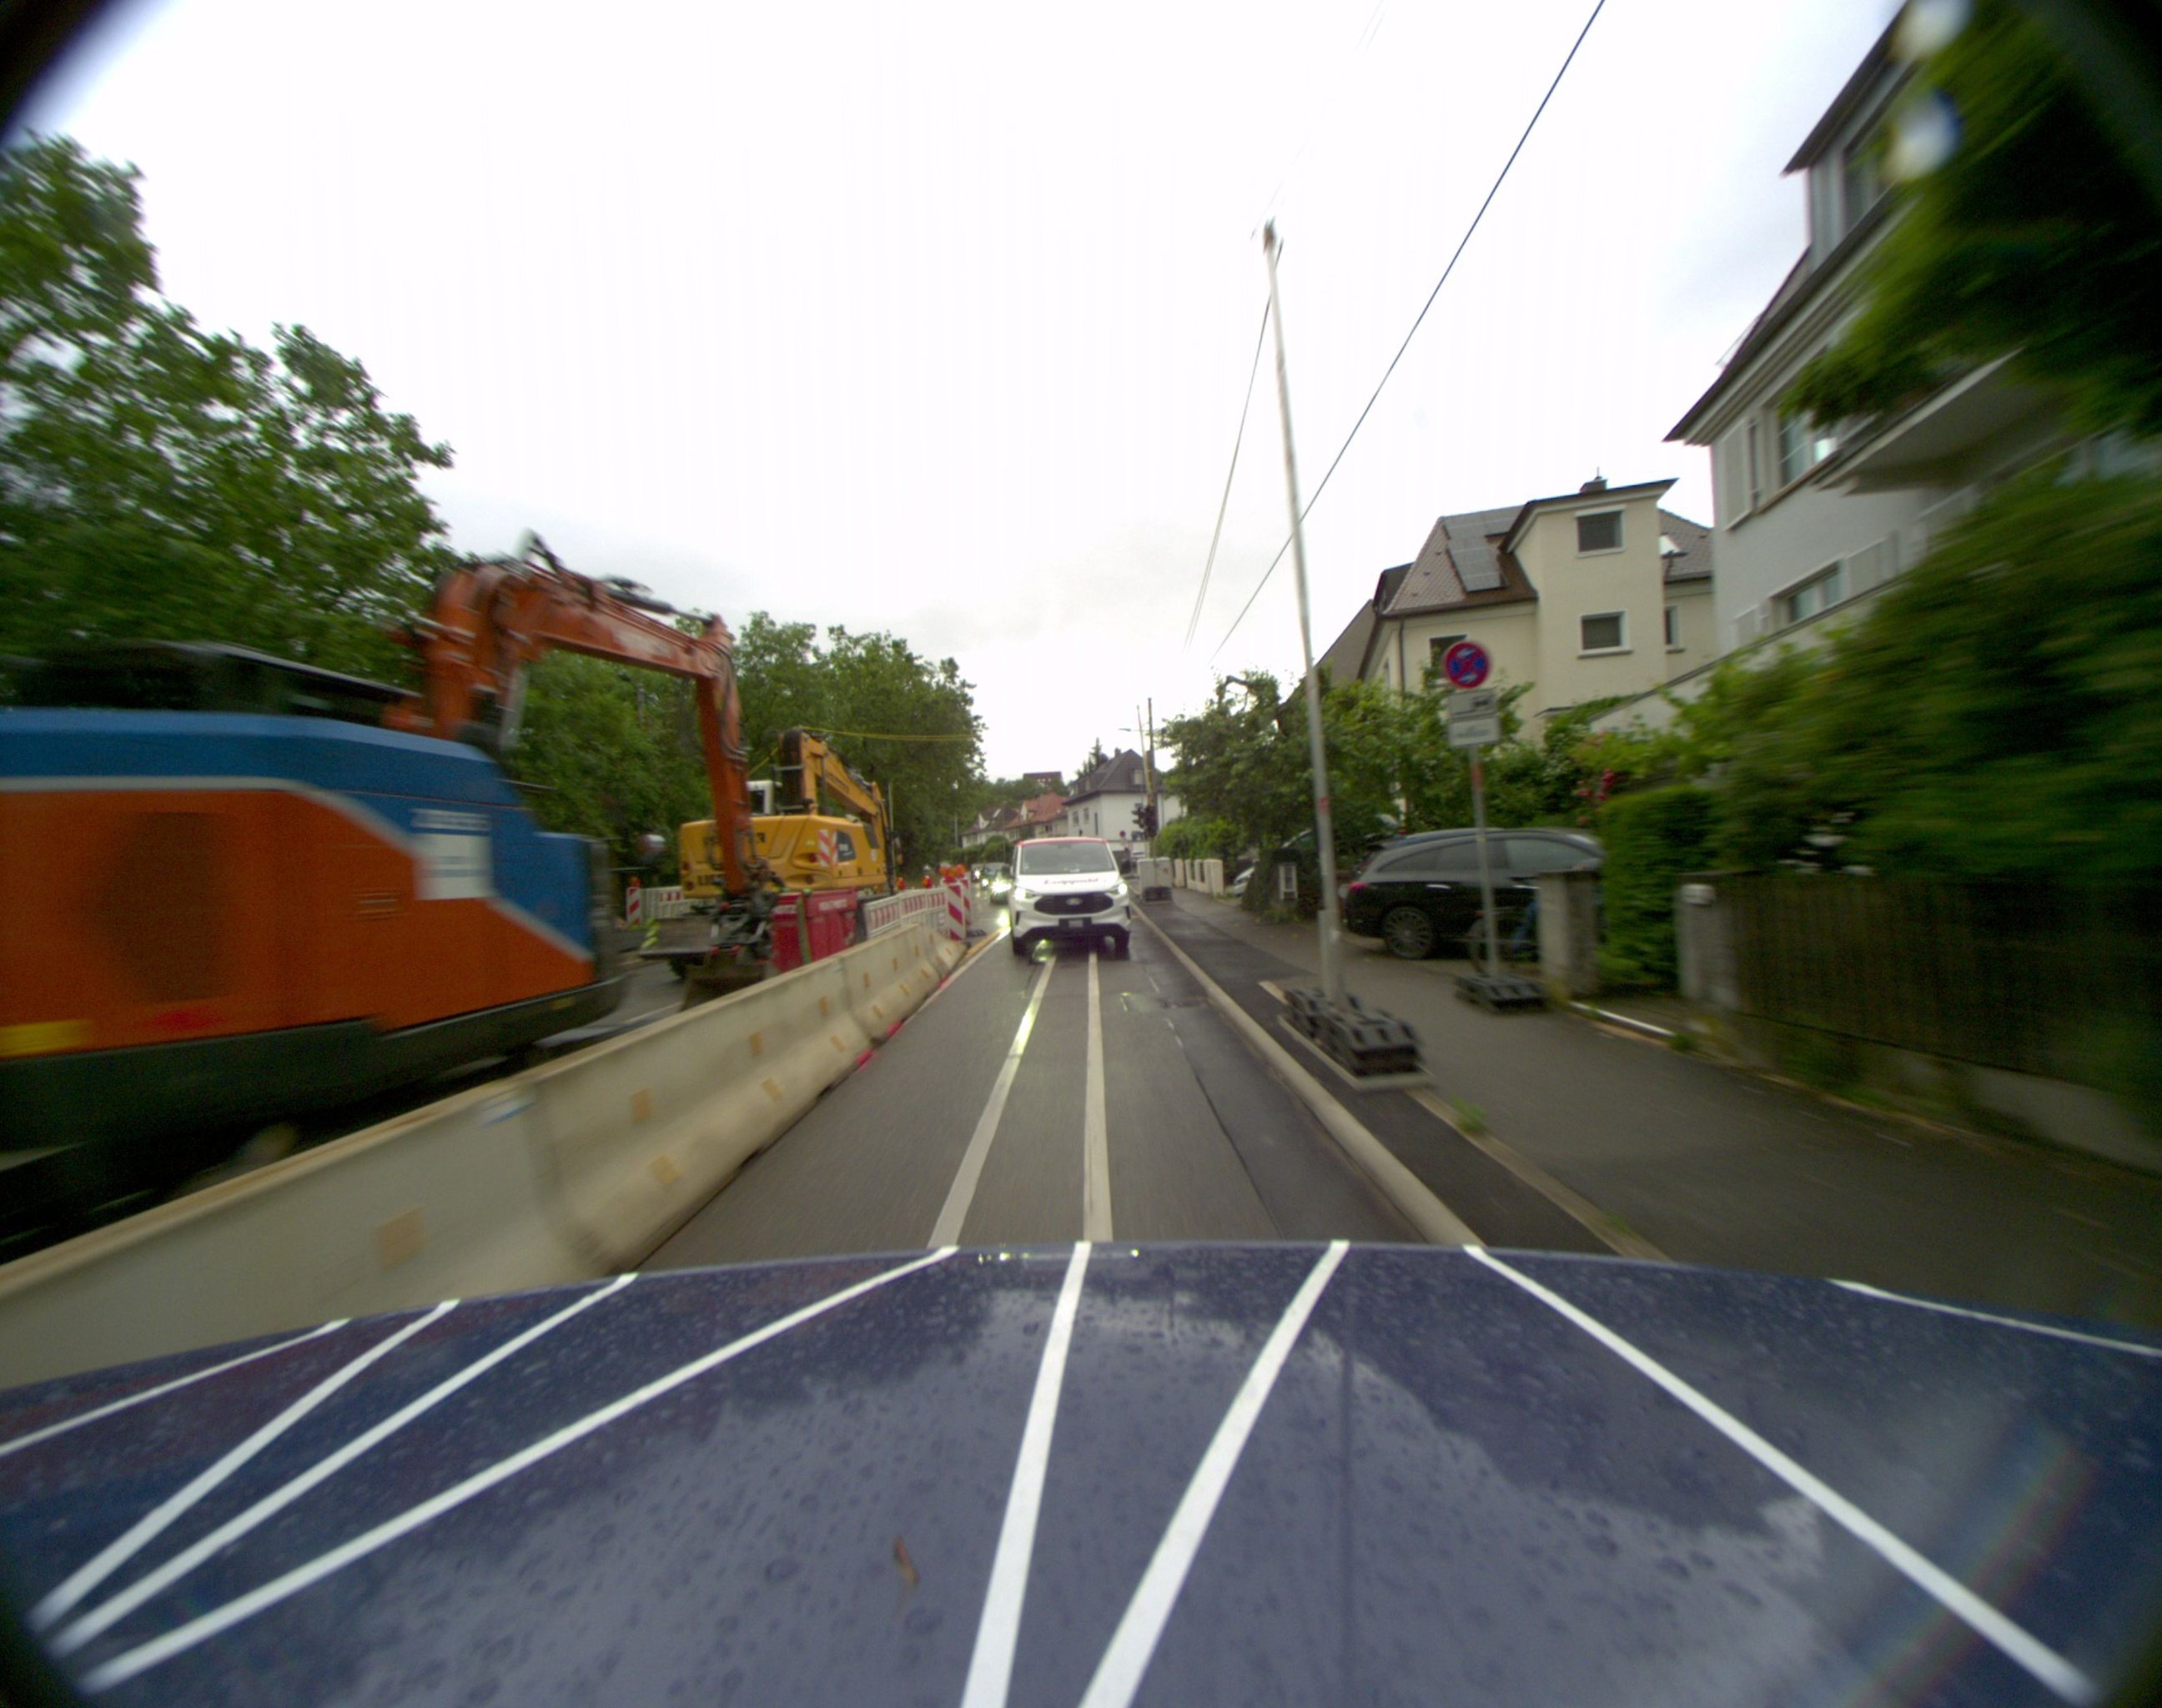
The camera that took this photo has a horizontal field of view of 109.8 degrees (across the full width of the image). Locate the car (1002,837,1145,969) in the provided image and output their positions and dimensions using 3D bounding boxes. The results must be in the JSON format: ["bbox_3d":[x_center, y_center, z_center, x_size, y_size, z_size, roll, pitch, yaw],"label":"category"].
[{"bbox_3d":[-0.371,0.723,14.345,2.046,1.883,5.205,-4,1,-6],"label":"car"}]

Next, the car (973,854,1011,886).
[{"bbox_3d":[-5.835,0.984,49.211,1.954,1.797,3.922,-5,1,-12],"label":"car"}]

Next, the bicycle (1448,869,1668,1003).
[{"bbox_3d":[4.363,0.759,7.042,1.621,1.124,0.443,-4,2,14],"label":"bicycle"}]

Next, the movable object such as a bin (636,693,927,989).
[{"bbox_3d":[-4.790,-0.160,13.209,2.885,4.146,4.488,-2,0,4],"label":"movable object such as a bin"}]

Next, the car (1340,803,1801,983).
[{"bbox_3d":[5.291,0.382,8.620,1.789,1.517,3.990,-6,1,-42],"label":"car"}]

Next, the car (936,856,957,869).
[{"bbox_3d":[-16.320,1.002,92.329,1.825,1.328,3.625,-4,1,0],"label":"car"}]

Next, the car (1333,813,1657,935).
[{"bbox_3d":[6.237,0.289,11.952,3.994,1.517,1.942,-4,1,10],"label":"car"}]

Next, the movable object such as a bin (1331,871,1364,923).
[{"bbox_3d":[5.030,0.806,14.359,0.505,0.926,0.505,-3,2,13],"label":"movable object such as a bin"}]

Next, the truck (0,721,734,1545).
[{"bbox_3d":[-3.733,0.738,3.577,2.557,2.096,3.303,-2,1,0],"label":"truck"}]

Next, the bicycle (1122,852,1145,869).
[{"bbox_3d":[4.337,0.550,63.072,1.733,1.304,0.706,-5,2,-11],"label":"bicycle"}]

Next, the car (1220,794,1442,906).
[{"bbox_3d":[6.255,-0.071,19.577,4.972,1.607,1.865,-14,-2,11],"label":"car"}]

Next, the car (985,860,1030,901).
[{"bbox_3d":[-3.238,1.146,34.153,1.540,1.565,3.648,-4,1,0],"label":"car"}]
